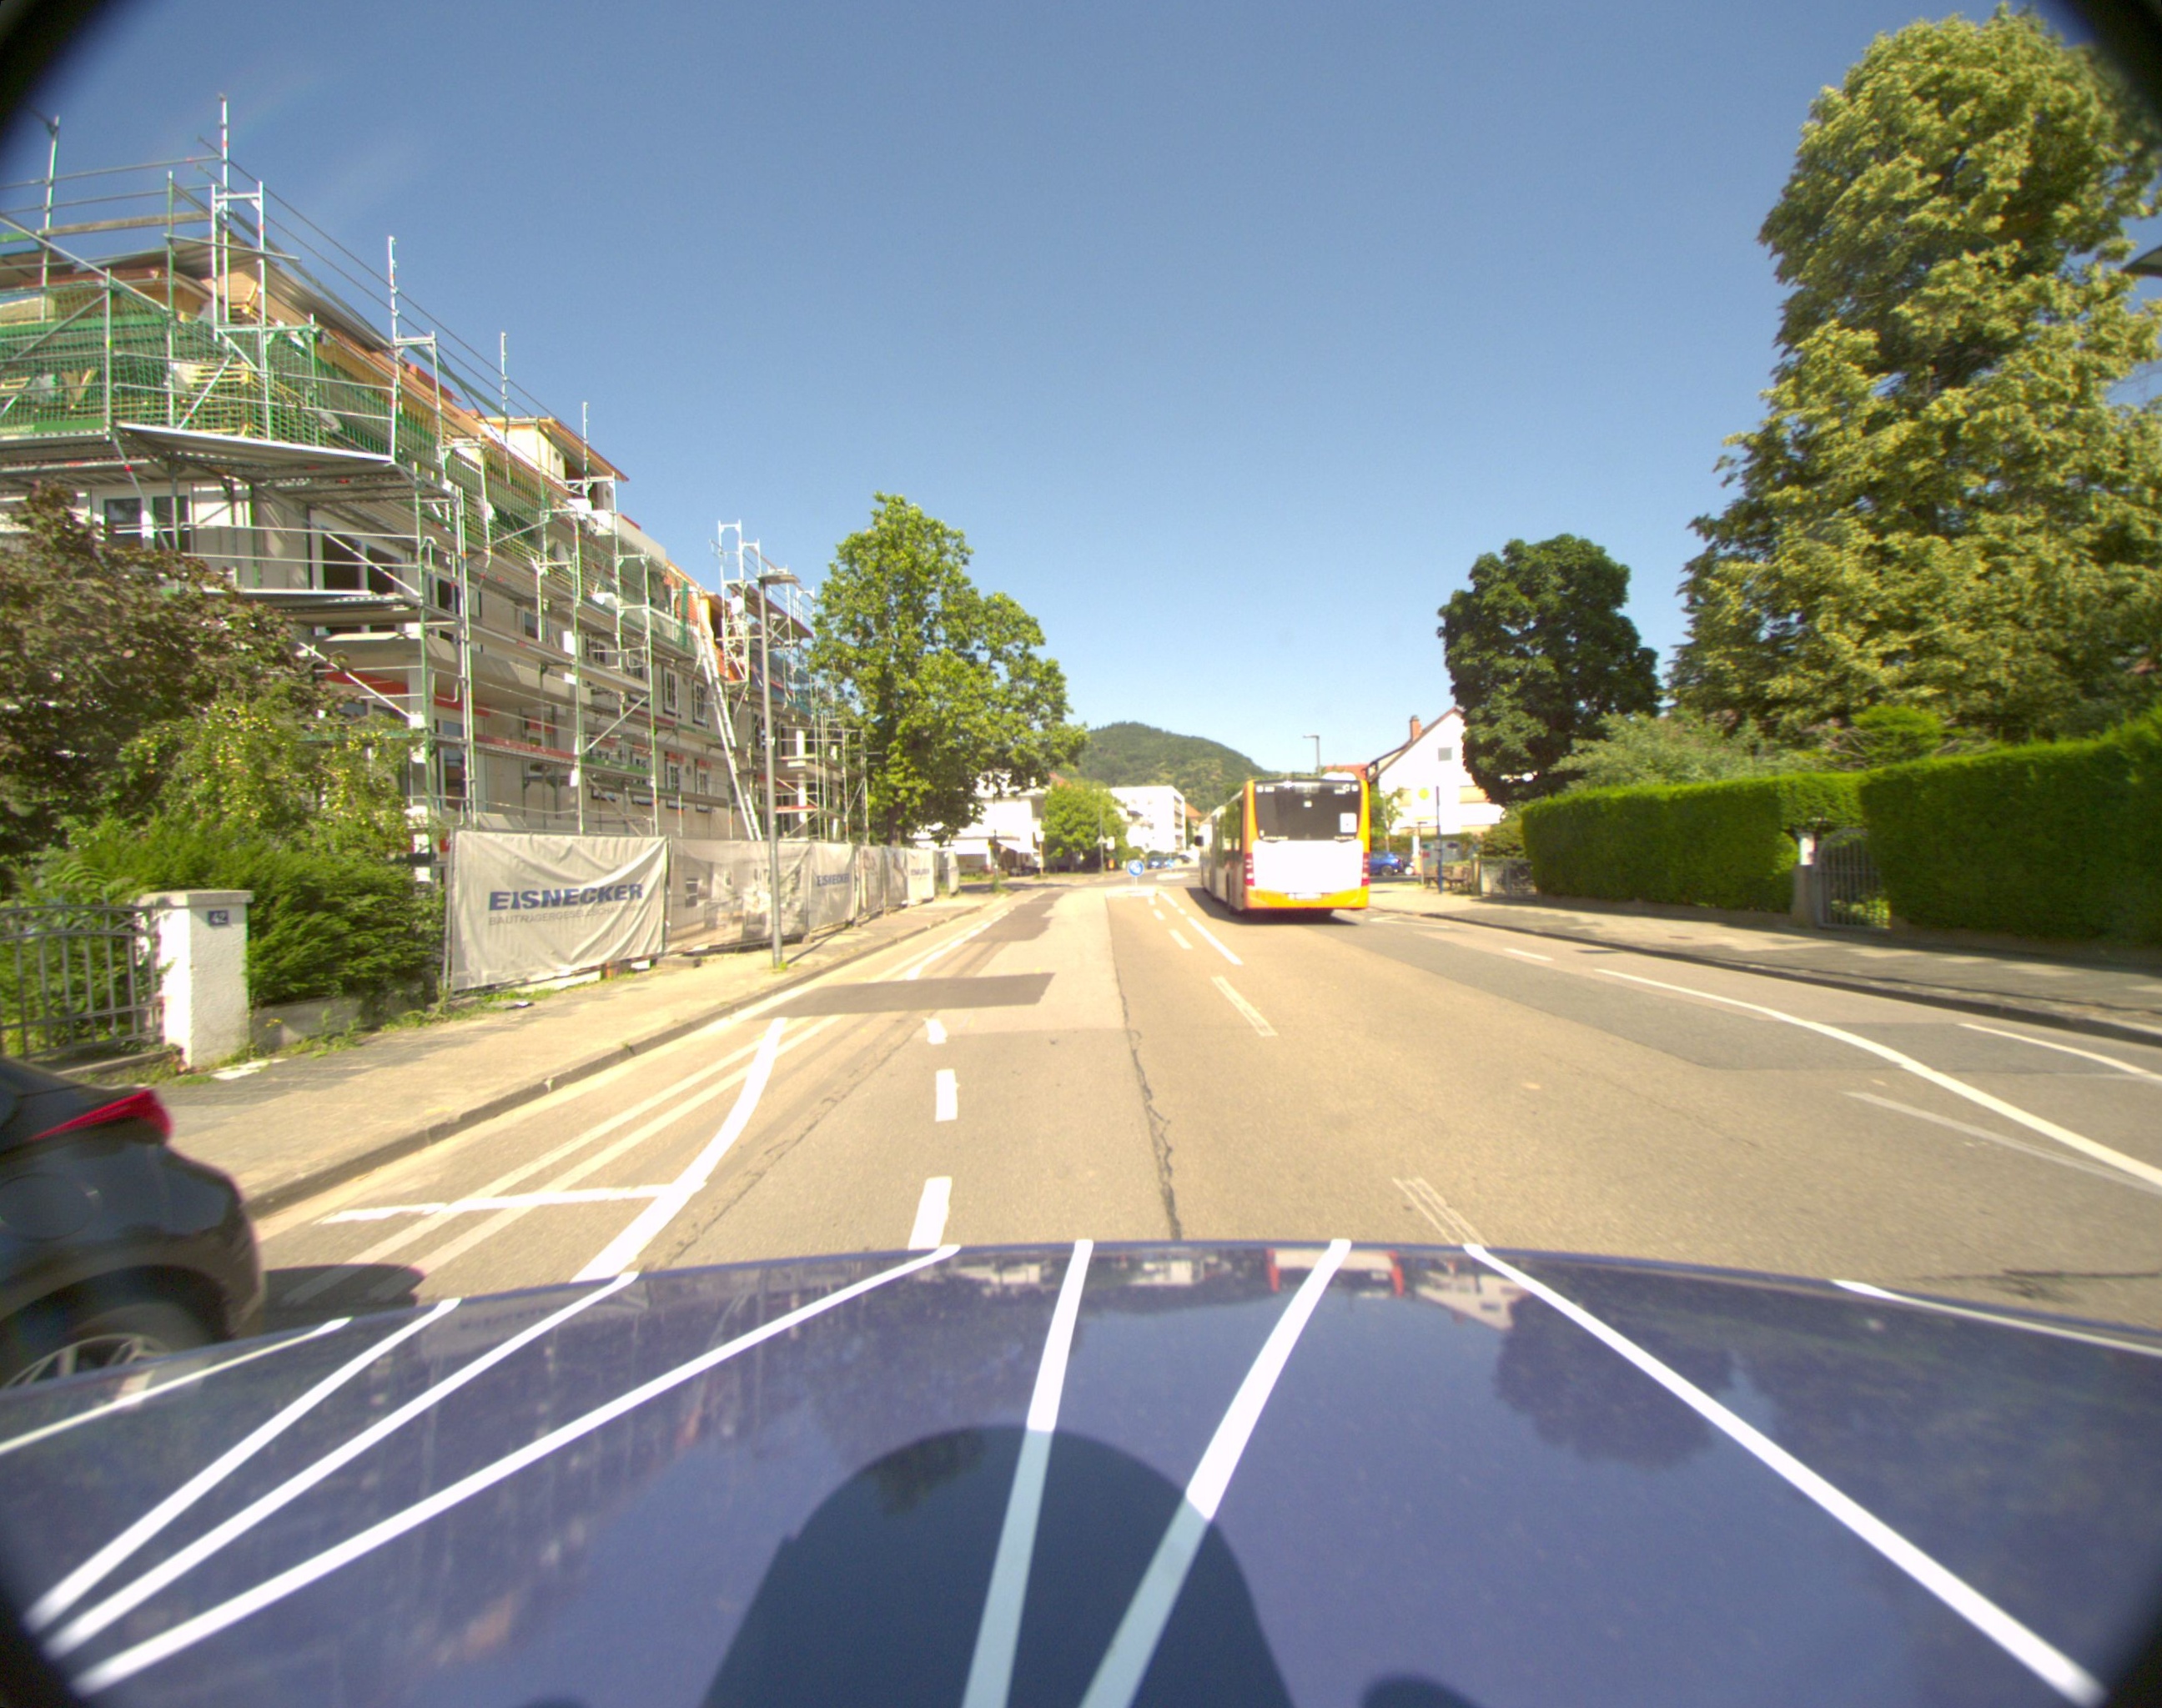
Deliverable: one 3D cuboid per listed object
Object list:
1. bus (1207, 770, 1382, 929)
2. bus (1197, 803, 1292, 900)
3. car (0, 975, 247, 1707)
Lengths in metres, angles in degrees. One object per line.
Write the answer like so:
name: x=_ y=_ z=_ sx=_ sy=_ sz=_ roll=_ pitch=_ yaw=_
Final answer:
bus: x=5.071 y=-0.088 z=20.101 sx=2.751 sy=3.156 sz=9.781 roll=0 pitch=0 yaw=5
bus: x=6.111 y=-0.092 z=29.848 sx=2.751 sy=3.156 sz=9.783 roll=0 pitch=0 yaw=7
car: x=-3.146 y=1.125 z=0.137 sx=1.661 sy=1.467 sz=3.787 roll=-5 pitch=0 yaw=1
